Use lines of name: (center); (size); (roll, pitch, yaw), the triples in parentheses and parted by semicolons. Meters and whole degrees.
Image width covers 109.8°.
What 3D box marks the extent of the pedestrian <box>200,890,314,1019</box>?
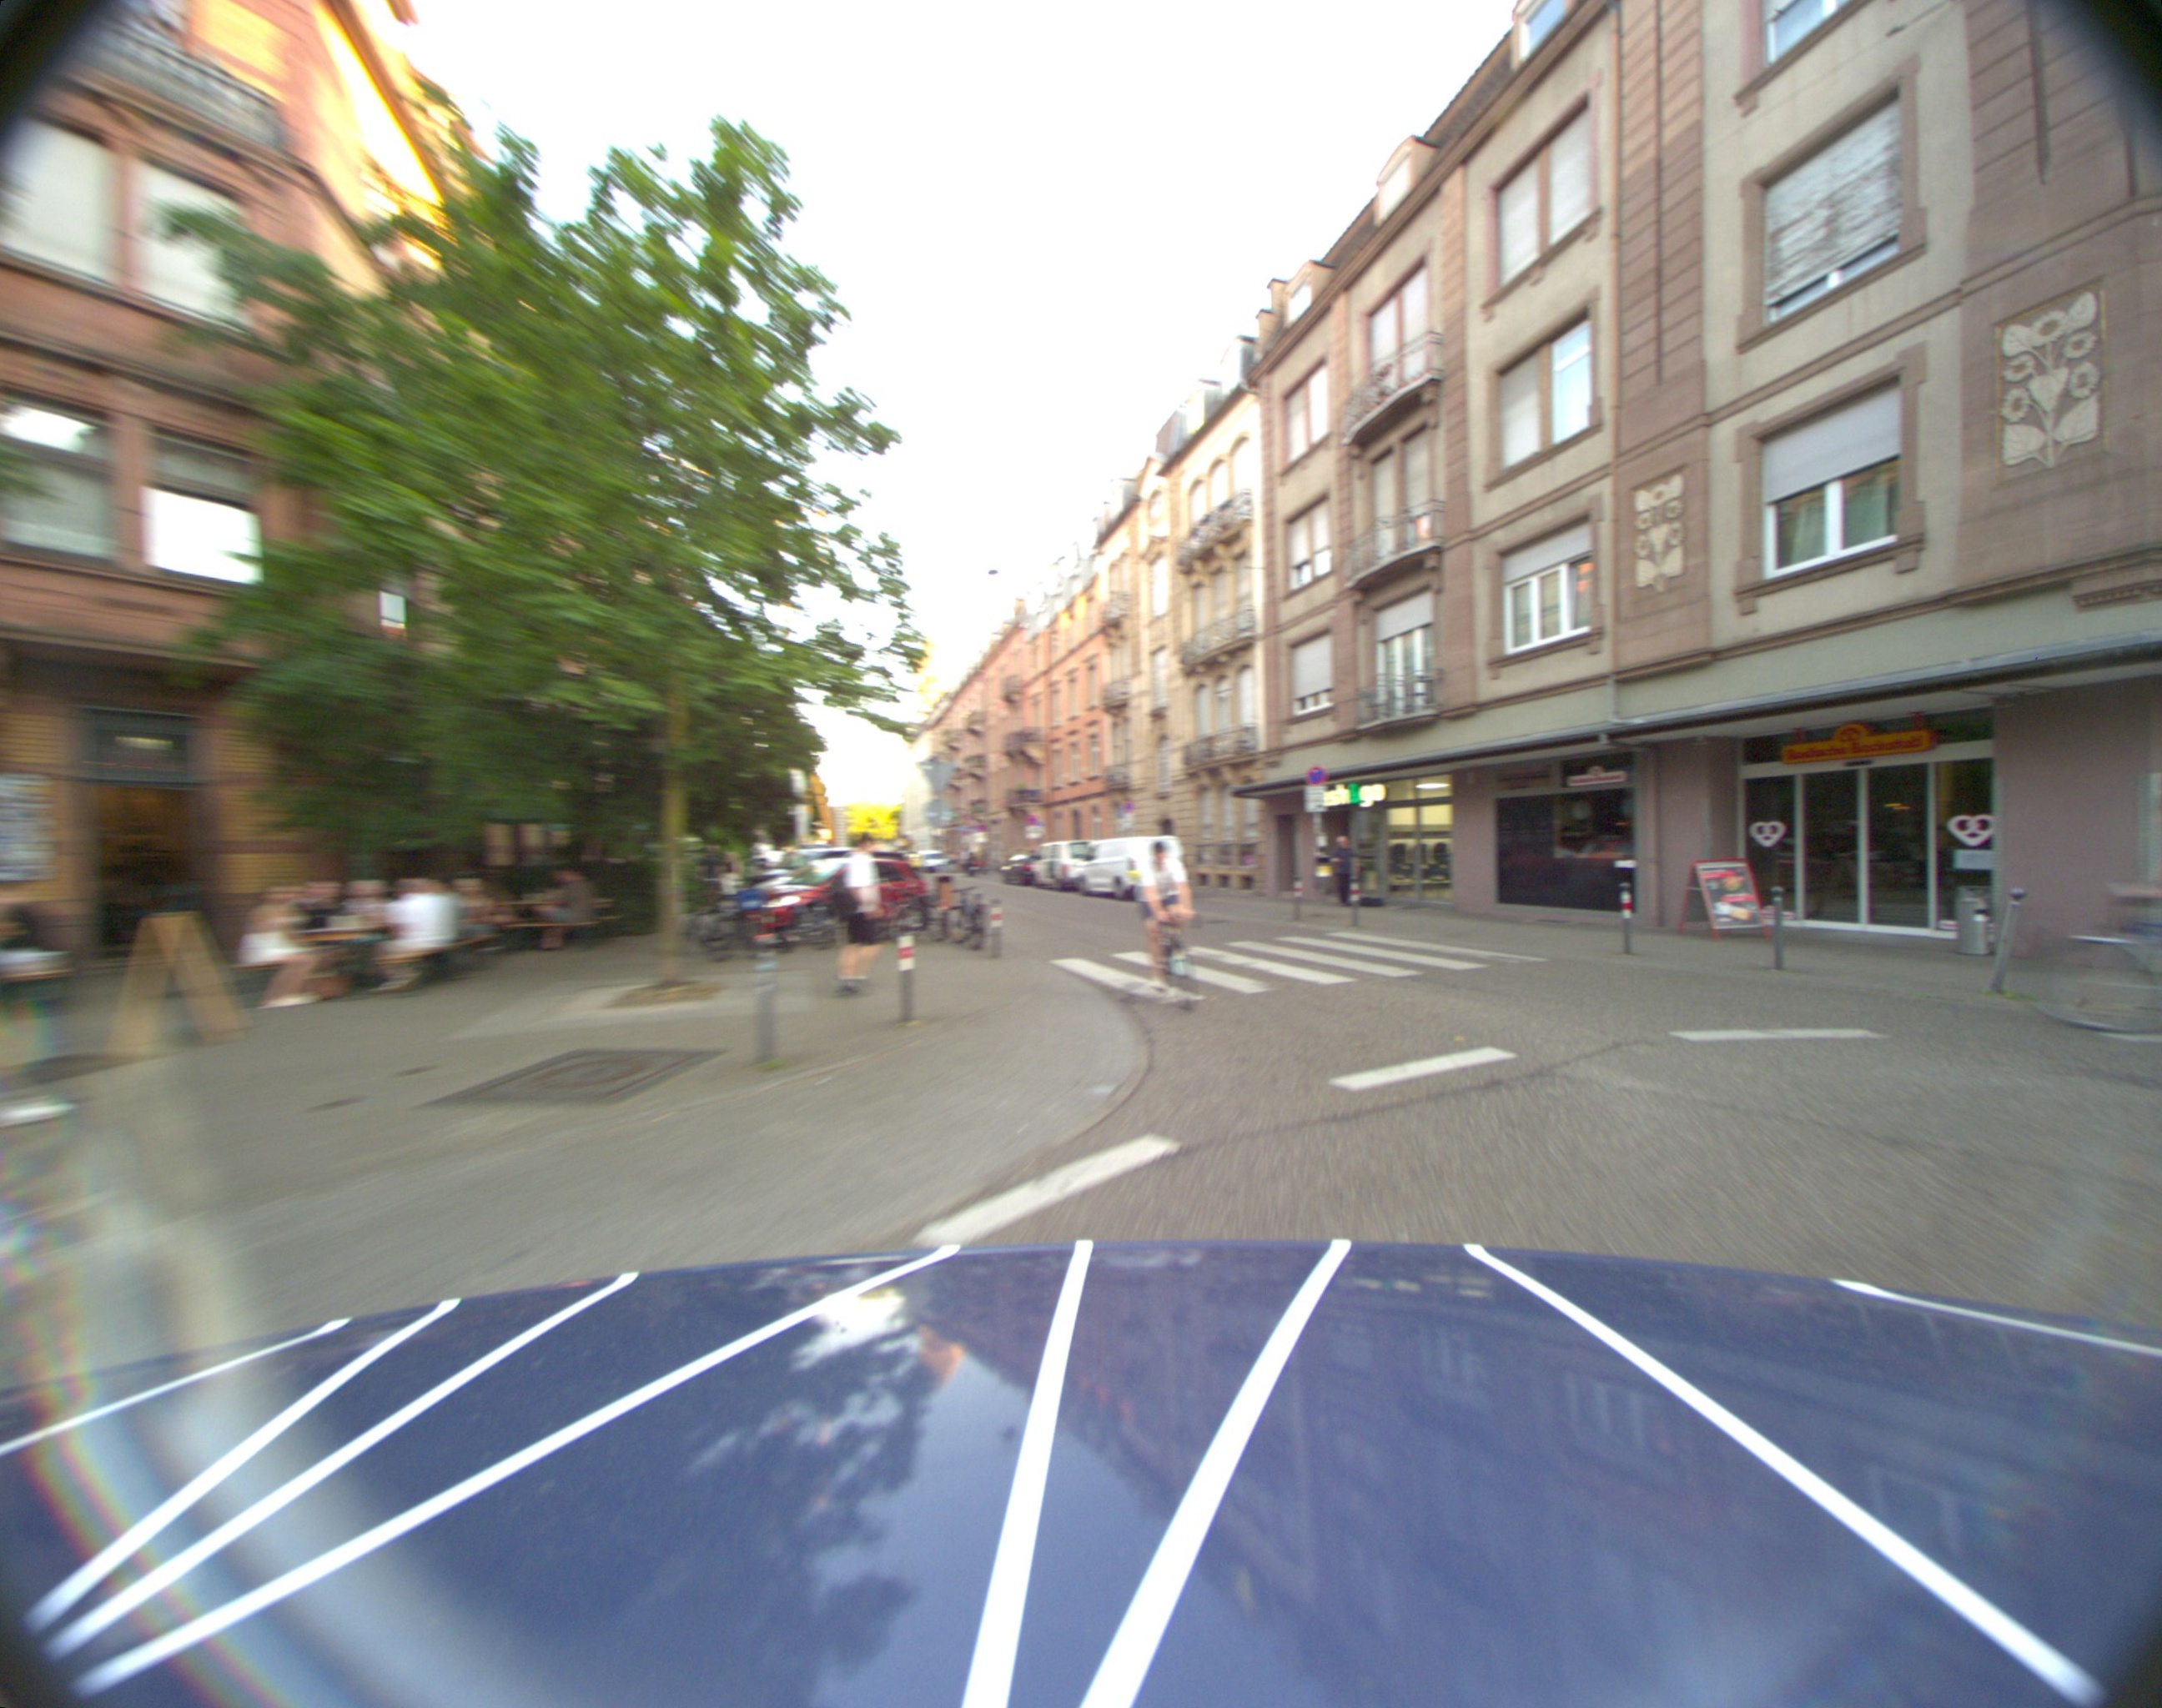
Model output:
pedestrian: (-8.805, 1.045, 8.144); (0.547, 1.262, 0.573); (-3, 2, -18)

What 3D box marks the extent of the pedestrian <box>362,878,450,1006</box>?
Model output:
pedestrian: (-7.698, 0.979, 8.688); (0.547, 1.372, 0.466); (-3, 2, -21)

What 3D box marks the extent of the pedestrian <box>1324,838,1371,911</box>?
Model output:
pedestrian: (6.361, 0.475, 18.165); (0.712, 1.668, 0.735); (-3, 2, -18)

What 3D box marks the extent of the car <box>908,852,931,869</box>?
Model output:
car: (-15.482, 0.575, 72.803); (1.712, 1.521, 3.786); (-2, 1, -18)

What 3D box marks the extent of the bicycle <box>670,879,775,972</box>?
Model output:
bicycle: (-5.400, 1.031, 11.414); (1.718, 1.281, 0.600); (-1, 1, 34)

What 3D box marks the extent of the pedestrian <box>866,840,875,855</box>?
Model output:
pedestrian: (-41.265, -1.258, 149.121); (1.447, 2.725, 1.010); (-3, 2, -20)

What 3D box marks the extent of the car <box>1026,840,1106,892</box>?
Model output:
car: (-0.706, 0.421, 31.074); (1.844, 1.910, 4.837); (-2, 1, -18)

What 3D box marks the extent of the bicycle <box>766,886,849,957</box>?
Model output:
bicycle: (-4.645, 1.106, 12.851); (1.764, 1.057, 0.600); (0, 0, 44)

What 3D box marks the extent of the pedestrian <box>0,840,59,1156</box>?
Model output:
pedestrian: (-6.729, 0.855, 4.234); (0.867, 1.818, 0.837); (-2, 2, 12)

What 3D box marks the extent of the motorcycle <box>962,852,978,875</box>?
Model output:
motorcycle: (-7.223, 0.597, 49.328); (0.687, 1.397, 2.011); (-3, 2, -17)

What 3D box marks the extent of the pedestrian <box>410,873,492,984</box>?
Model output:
pedestrian: (-8.261, 0.958, 9.989); (0.546, 1.372, 0.573); (-3, 2, -12)

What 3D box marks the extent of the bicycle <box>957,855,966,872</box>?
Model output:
bicycle: (-9.116, 0.716, 58.041); (0.467, 1.148, 1.997); (-3, 2, -12)

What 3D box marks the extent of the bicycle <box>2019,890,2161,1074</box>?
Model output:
bicycle: (7.872, 0.890, 5.099); (0.842, 1.165, 1.931); (-4, 2, -35)

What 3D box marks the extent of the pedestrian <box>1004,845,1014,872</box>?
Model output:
pedestrian: (-4.807, 0.307, 50.619); (0.465, 1.779, 0.641); (-3, 2, -16)

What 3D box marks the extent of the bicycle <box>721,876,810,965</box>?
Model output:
bicycle: (-5.079, 1.020, 12.195); (1.764, 1.281, 0.600); (-1, 3, 44)

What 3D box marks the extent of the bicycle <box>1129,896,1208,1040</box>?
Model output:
bicycle: (0.854, 1.088, 7.804); (0.520, 1.148, 1.782); (-3, 2, -1)

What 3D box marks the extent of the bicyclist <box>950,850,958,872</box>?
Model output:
bicyclist: (-9.512, 0.527, 56.950); (0.467, 1.582, 0.486); (-3, 2, -16)

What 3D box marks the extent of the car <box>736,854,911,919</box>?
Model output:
car: (-7.024, 0.850, 21.101); (1.928, 1.612, 4.234); (0, -1, 38)

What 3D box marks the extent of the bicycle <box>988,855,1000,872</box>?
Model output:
bicycle: (-6.216, 0.651, 54.159); (0.413, 1.153, 1.834); (-3, 2, -18)

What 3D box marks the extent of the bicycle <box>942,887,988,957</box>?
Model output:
bicycle: (-2.045, 1.154, 13.268); (0.365, 1.057, 1.549); (-3, 2, -23)

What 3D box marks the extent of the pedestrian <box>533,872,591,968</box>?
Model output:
pedestrian: (-8.049, 1.006, 11.803); (0.640, 1.401, 0.513); (-4, 3, -32)

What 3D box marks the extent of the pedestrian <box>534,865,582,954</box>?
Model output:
pedestrian: (-8.660, 0.904, 12.593); (0.555, 1.401, 0.513); (-4, 3, -32)

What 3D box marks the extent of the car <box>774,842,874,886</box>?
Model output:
car: (-14.416, 0.527, 42.852); (1.994, 2.348, 4.949); (-1, 0, 45)

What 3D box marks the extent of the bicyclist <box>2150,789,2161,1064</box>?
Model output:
bicyclist: (7.872, 0.477, 5.045); (0.842, 1.866, 0.876); (-4, 3, -34)

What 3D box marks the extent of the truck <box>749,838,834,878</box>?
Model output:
truck: (-25.152, 0.308, 66.328); (6.505, 3.059, 2.520); (-3, 2, -16)

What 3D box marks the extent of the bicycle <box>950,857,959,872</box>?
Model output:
bicycle: (-9.484, 0.806, 56.890); (0.467, 1.062, 1.518); (-3, 2, -16)

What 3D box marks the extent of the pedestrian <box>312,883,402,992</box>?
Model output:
pedestrian: (-9.009, 1.016, 9.482); (0.547, 1.262, 0.573); (-3, 2, -18)

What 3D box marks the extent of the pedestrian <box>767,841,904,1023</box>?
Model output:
pedestrian: (-2.571, 0.772, 8.036); (0.866, 1.760, 0.950); (-1, 2, 28)

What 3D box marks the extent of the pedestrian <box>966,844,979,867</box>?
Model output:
pedestrian: (-8.467, 0.114, 59.359); (0.685, 1.800, 0.959); (-3, 2, -23)

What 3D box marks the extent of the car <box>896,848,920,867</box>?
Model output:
car: (-18.687, 0.367, 81.971); (1.935, 1.872, 4.896); (-2, 1, -20)

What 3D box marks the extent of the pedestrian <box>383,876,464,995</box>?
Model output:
pedestrian: (-8.043, 0.977, 9.310); (0.547, 1.372, 0.466); (-3, 2, -21)

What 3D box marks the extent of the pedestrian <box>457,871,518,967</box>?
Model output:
pedestrian: (-9.060, 0.970, 11.605); (0.618, 1.401, 0.515); (-1, 3, 38)

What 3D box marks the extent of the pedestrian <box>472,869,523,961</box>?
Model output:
pedestrian: (-9.398, 0.967, 12.258); (0.515, 1.401, 0.618); (-4, 2, -32)

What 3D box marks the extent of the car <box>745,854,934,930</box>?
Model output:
car: (-5.902, 0.872, 19.033); (1.928, 1.678, 4.234); (0, -1, 33)

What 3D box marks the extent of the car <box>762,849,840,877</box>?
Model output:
car: (-20.279, 0.656, 55.161); (5.195, 1.944, 1.896); (1, -1, -20)

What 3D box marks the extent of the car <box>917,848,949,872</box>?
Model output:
car: (-12.326, 0.468, 63.173); (1.778, 1.779, 4.578); (-3, 2, -21)

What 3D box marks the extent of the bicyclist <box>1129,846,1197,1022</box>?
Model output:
bicyclist: (0.833, 0.783, 7.822); (0.528, 1.694, 0.789); (-3, 2, -2)

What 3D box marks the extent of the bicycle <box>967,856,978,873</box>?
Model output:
bicycle: (-7.694, 0.721, 53.980); (0.413, 1.153, 1.834); (-3, 2, -18)

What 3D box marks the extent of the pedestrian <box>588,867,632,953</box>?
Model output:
pedestrian: (-8.022, 0.934, 12.946); (0.555, 1.401, 0.513); (-4, 3, -32)

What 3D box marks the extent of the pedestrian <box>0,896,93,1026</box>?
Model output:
pedestrian: (-11.796, 1.177, 8.428); (0.627, 1.338, 0.739); (-3, 2, -16)

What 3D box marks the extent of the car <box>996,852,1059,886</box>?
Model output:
car: (-2.638, 0.683, 36.425); (1.844, 1.462, 4.165); (-2, 1, -21)

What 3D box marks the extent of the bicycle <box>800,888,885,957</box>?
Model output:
bicycle: (-4.195, 1.169, 13.306); (1.764, 1.057, 0.600); (-1, 3, 44)

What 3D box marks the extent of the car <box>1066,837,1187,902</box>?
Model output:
car: (1.357, 0.444, 25.411); (2.118, 1.910, 5.016); (-2, 1, -21)

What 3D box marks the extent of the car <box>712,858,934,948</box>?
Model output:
car: (-5.194, 0.902, 15.753); (1.688, 1.618, 4.058); (-1, -1, 39)

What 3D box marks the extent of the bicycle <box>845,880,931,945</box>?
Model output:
bicycle: (-3.706, 1.103, 14.640); (1.555, 1.154, 0.364); (-1, 1, -34)

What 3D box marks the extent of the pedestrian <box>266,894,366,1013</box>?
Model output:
pedestrian: (-8.862, 1.130, 8.828); (0.547, 1.262, 0.573); (-3, 2, -18)

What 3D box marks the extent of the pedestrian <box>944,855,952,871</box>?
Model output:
pedestrian: (-10.643, 0.695, 60.862); (0.480, 1.244, 0.651); (-3, 2, -19)

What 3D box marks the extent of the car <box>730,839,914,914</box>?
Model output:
car: (-7.924, 0.679, 23.897); (1.928, 2.060, 5.449); (0, -1, 33)

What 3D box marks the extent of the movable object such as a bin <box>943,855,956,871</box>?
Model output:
movable object such as a bin: (-10.535, 0.693, 60.758); (0.891, 1.244, 0.775); (-3, 2, -19)

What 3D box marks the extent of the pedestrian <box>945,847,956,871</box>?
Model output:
pedestrian: (-10.314, 0.398, 60.097); (0.600, 1.804, 0.719); (-4, 2, -28)
